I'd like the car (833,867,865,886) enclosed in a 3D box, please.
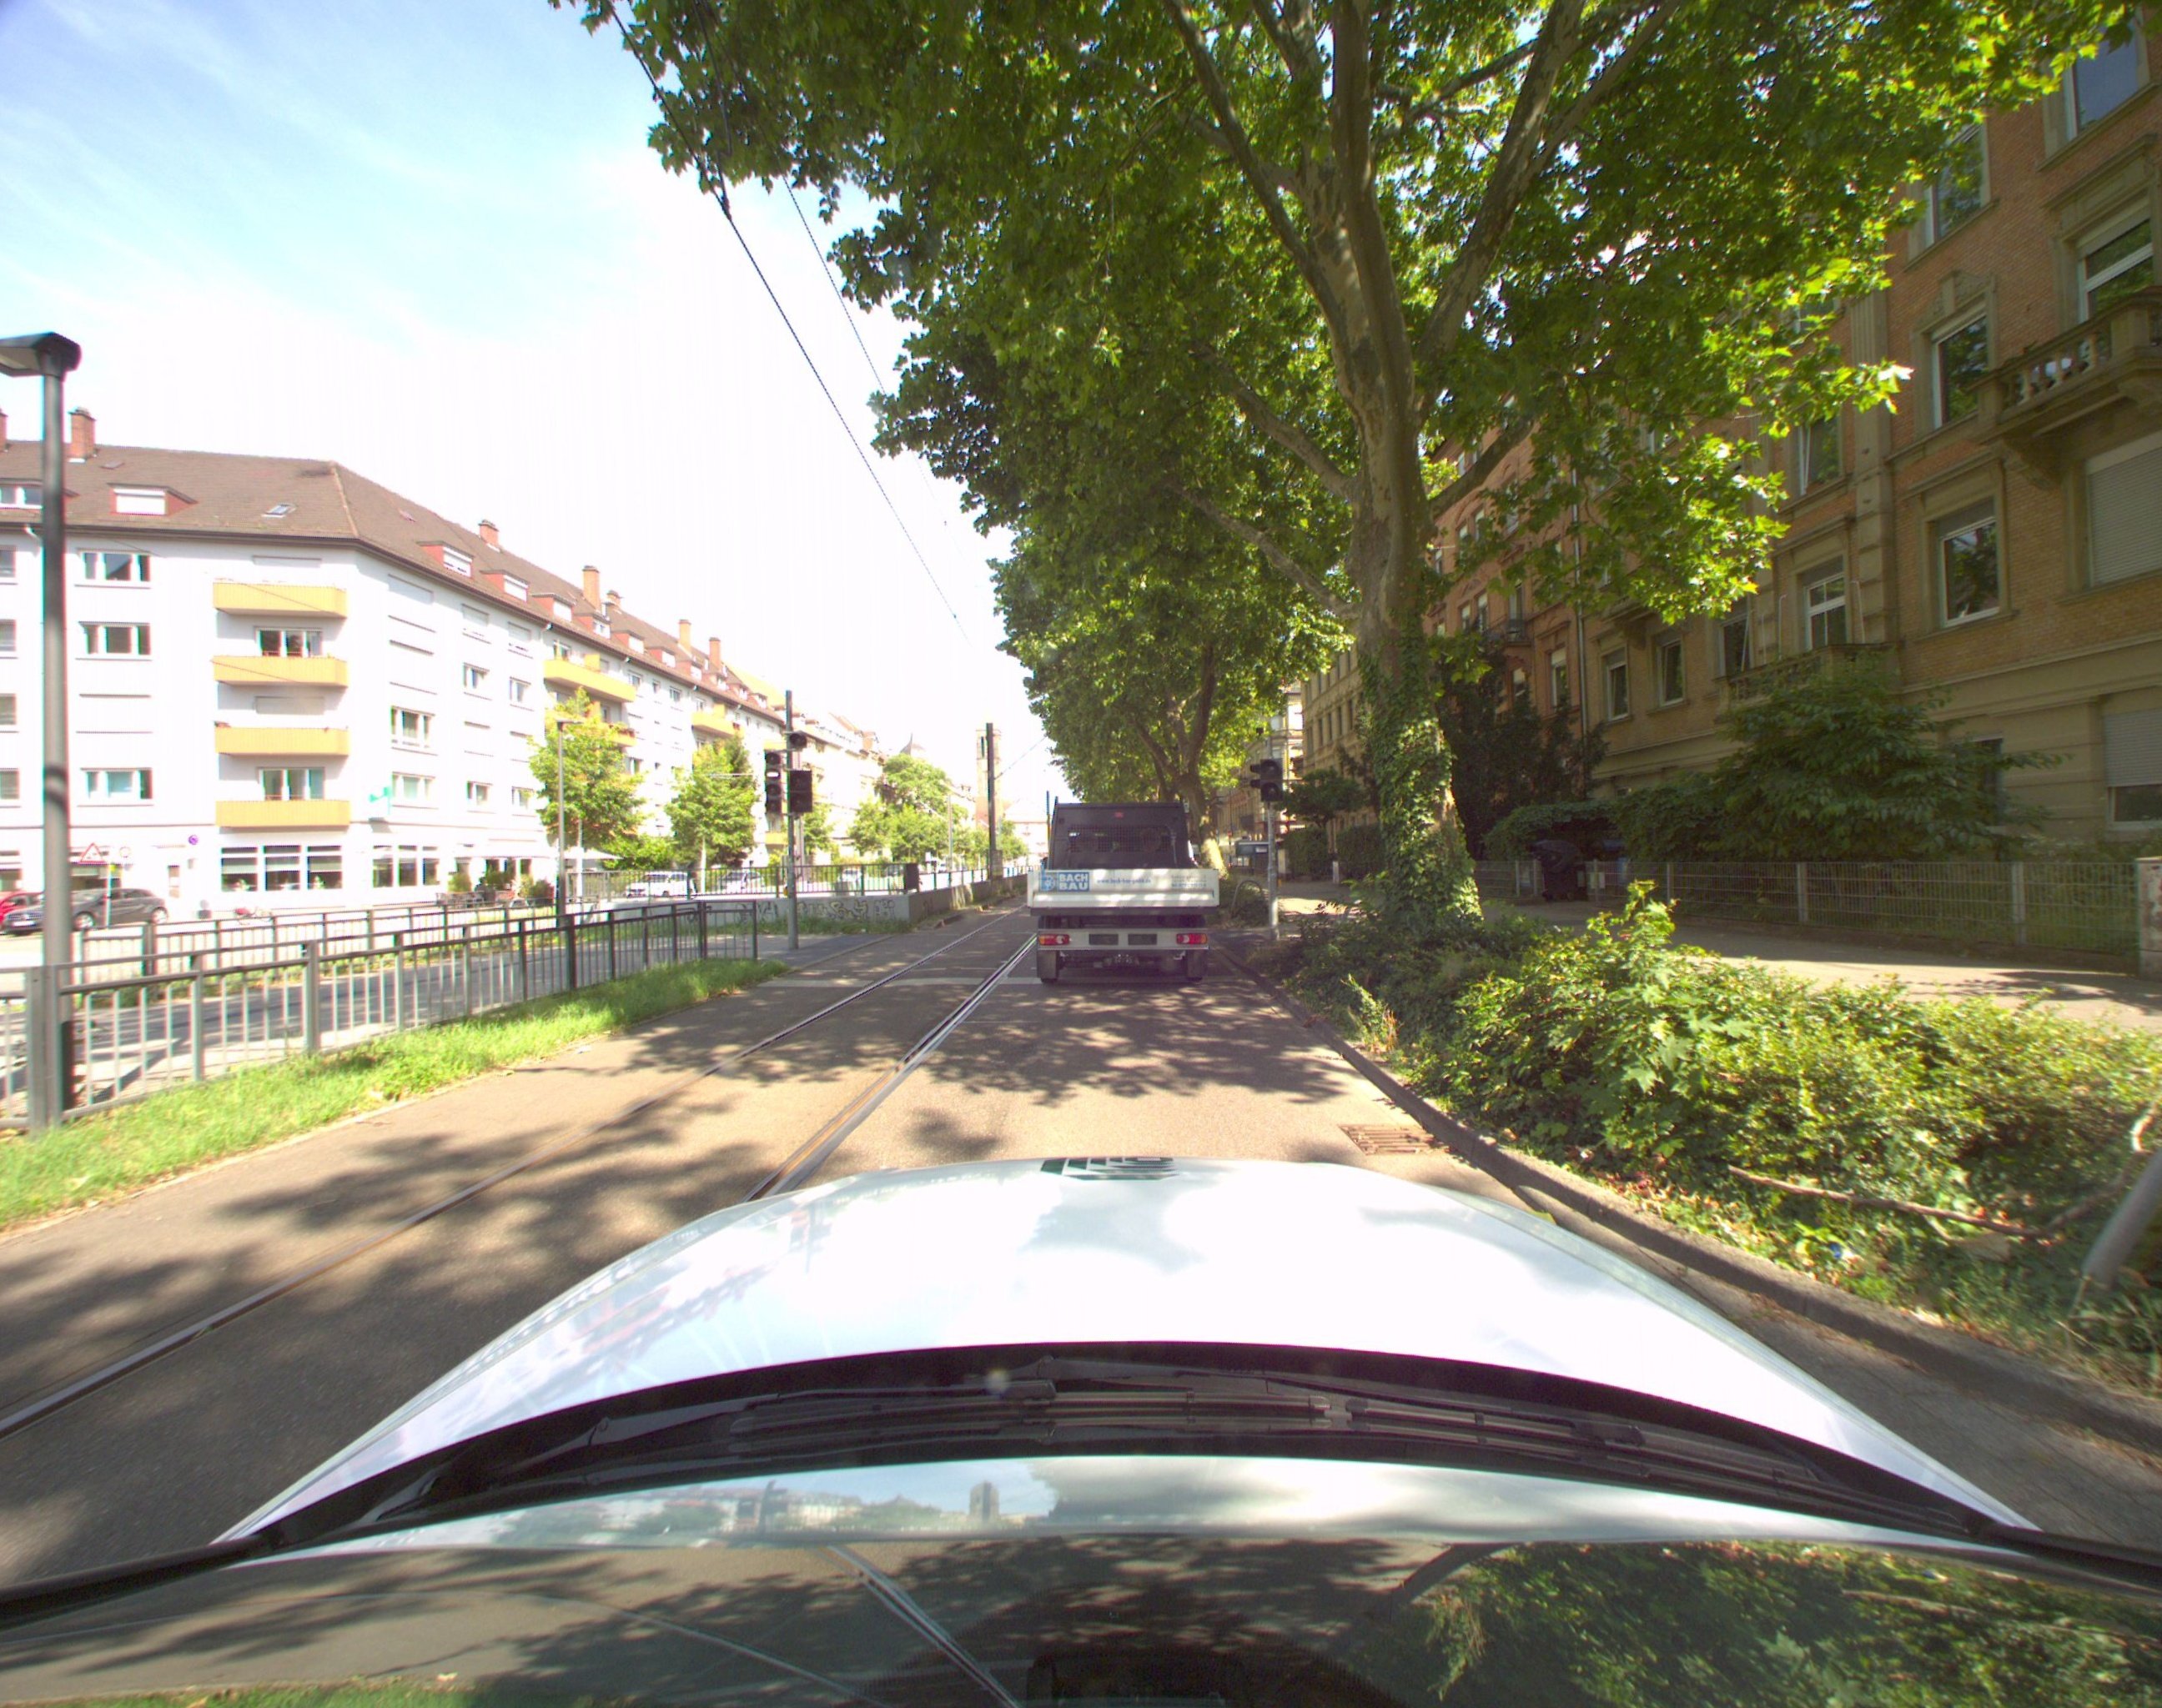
[{"bbox_3d":[-19.727,1.856,69.442,1.767,1.498,3.994,-2,0,-4],"label":"car"}]

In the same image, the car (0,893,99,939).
[{"bbox_3d":[-36.537,2.140,27.481,1.929,1.406,4.158,-2,0,-6],"label":"car"}]

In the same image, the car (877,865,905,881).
[{"bbox_3d":[-19.328,1.960,83.041,1.764,1.498,4.000,-2,0,1],"label":"car"}]

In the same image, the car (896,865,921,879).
[{"bbox_3d":[-19.227,2.022,90.881,1.764,1.498,4.000,-2,0,1],"label":"car"}]

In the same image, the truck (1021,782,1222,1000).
[{"bbox_3d":[0.543,0.417,10.986,2.129,2.319,4.404,-1,0,3],"label":"truck"}]

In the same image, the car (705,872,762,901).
[{"bbox_3d":[-20.348,1.875,47.816,1.767,1.498,3.994,-3,0,-4],"label":"car"}]

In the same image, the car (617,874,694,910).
[{"bbox_3d":[-20.517,1.805,39.453,1.767,1.498,3.994,-3,0,-4],"label":"car"}]

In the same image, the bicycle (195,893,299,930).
[{"bbox_3d":[-30.109,2.039,29.502,0.908,1.137,2.807,-2,-1,-1],"label":"bicycle"}]

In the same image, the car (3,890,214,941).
[{"bbox_3d":[-33.177,2.045,28.046,1.830,1.376,4.637,-2,0,-4],"label":"car"}]

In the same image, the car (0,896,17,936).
[{"bbox_3d":[-39.325,2.229,27.320,1.929,1.406,4.158,-2,0,-6],"label":"car"}]
